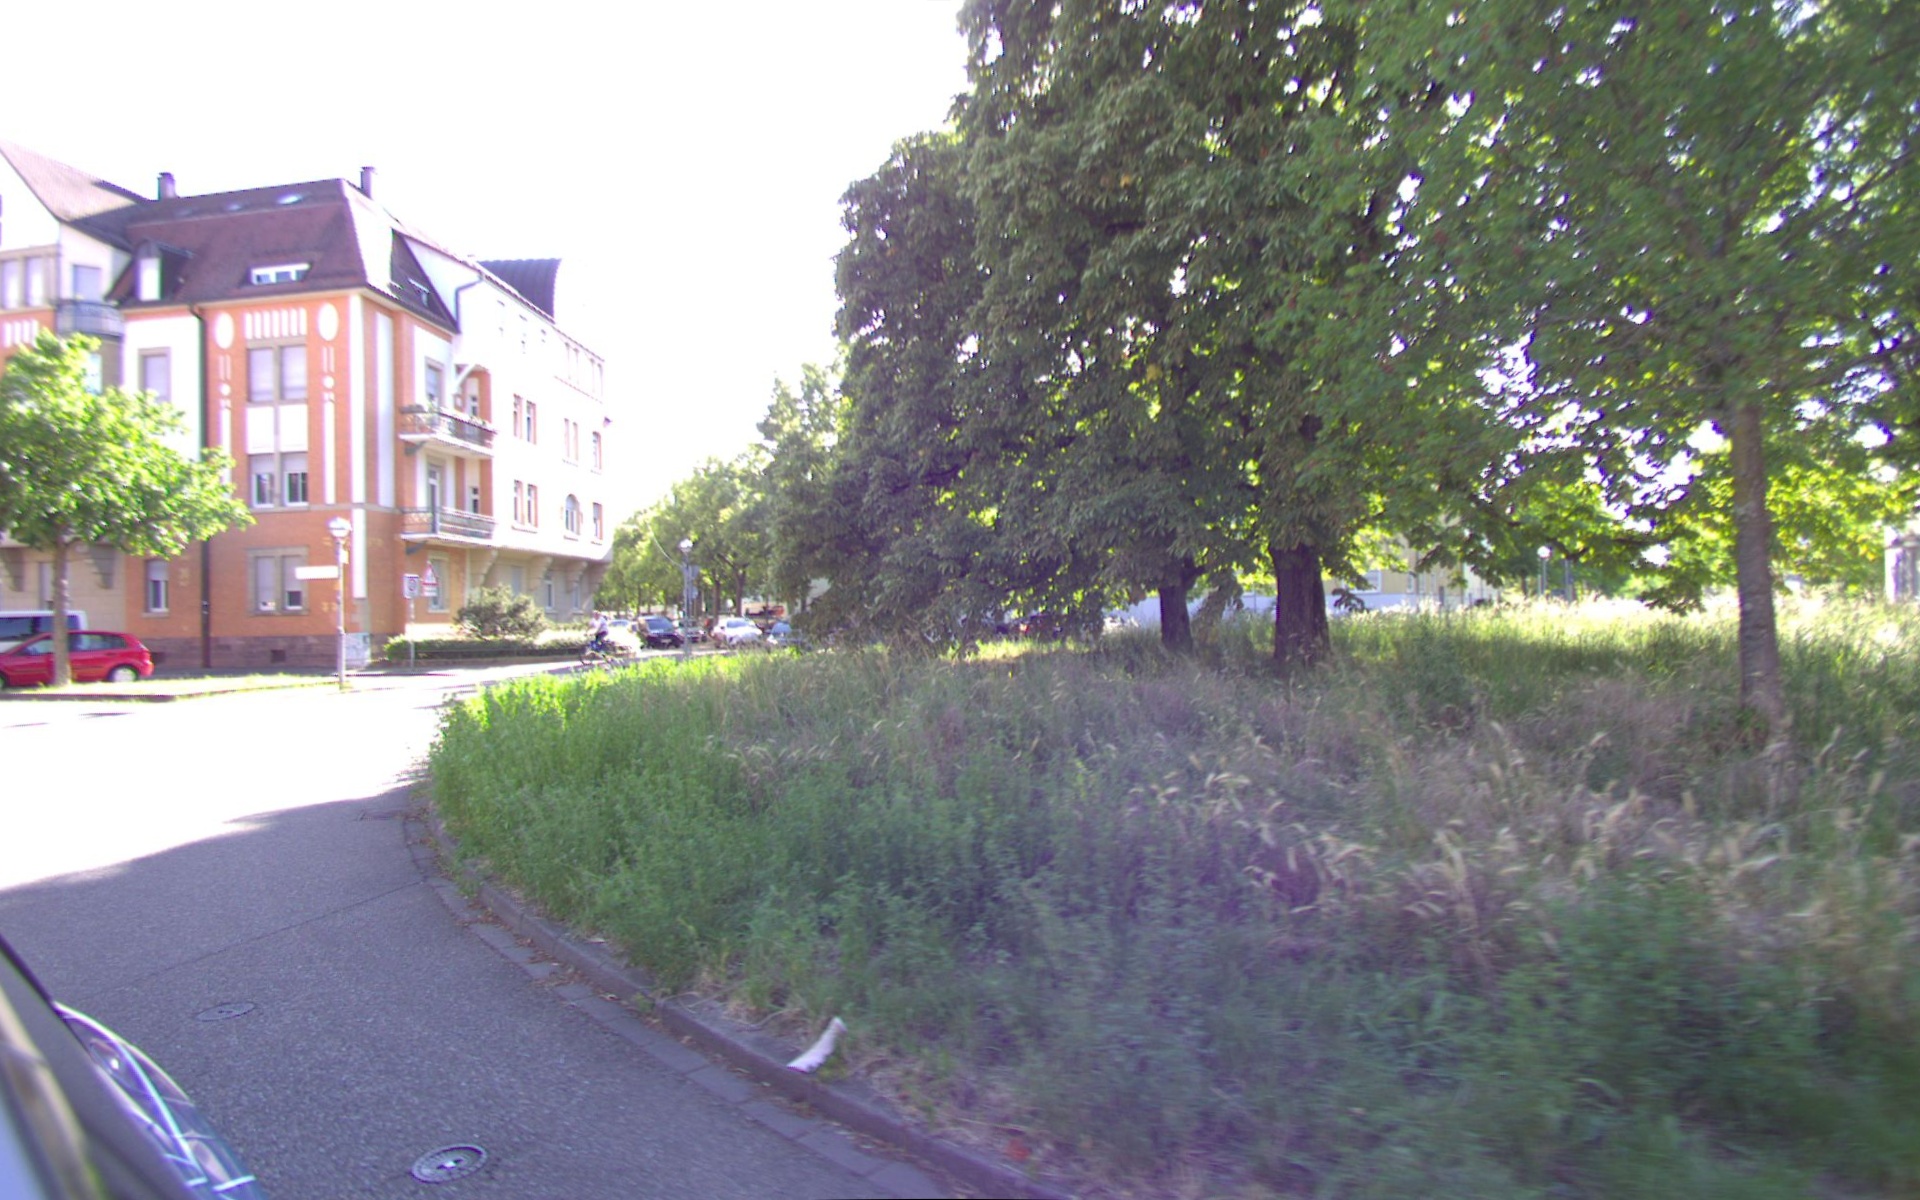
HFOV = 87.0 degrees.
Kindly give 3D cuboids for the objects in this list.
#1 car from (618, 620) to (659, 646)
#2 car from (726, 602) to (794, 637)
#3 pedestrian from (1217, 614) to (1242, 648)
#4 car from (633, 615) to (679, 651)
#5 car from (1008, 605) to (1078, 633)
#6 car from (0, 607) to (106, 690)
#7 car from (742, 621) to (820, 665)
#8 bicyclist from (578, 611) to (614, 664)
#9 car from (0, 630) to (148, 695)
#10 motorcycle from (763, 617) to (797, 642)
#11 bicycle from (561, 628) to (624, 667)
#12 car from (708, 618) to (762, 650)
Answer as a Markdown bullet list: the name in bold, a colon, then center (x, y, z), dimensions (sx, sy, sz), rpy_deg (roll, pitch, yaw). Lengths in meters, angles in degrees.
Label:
- **car**: center (-19.660, 2.017, 61.823), dimensions (1.767, 1.464, 4.222), rpy_deg (-3, 0, -25)
- **car**: center (-14.778, 1.455, 75.013), dimensions (4.540, 2.509, 1.982), rpy_deg (-1, -1, 7)
- **pedestrian**: center (12.533, 1.425, 47.088), dimensions (0.812, 1.535, 0.699), rpy_deg (-2, -1, -30)
- **car**: center (-16.710, 1.809, 55.469), dimensions (1.767, 1.780, 4.222), rpy_deg (-3, 0, -25)
- **car**: center (4.474, 1.043, 54.950), dimensions (1.705, 1.450, 4.401), rpy_deg (-1, -1, -27)
- **car**: center (-24.794, 1.235, 25.682), dimensions (4.636, 2.061, 1.995), rpy_deg (0, -2, -45)
- **car**: center (-6.641, 1.570, 37.291), dimensions (1.767, 1.446, 4.222), rpy_deg (-2, -1, -25)
- **bicyclist**: center (-11.970, 1.211, 33.308), dimensions (0.763, 1.709, 0.803), rpy_deg (-1, -1, 33)
- **car**: center (-22.238, 1.497, 24.647), dimensions (1.669, 1.446, 3.644), rpy_deg (-2, -1, 42)
- **motorcycle**: center (-10.181, 1.677, 57.267), dimensions (1.773, 1.358, 0.729), rpy_deg (0, -2, -45)
- **bicycle**: center (-12.050, 1.544, 33.198), dimensions (0.763, 1.207, 1.849), rpy_deg (-1, -1, 33)
- **car**: center (-11.310, 1.690, 50.670), dimensions (1.767, 1.446, 4.222), rpy_deg (-2, -1, -25)
